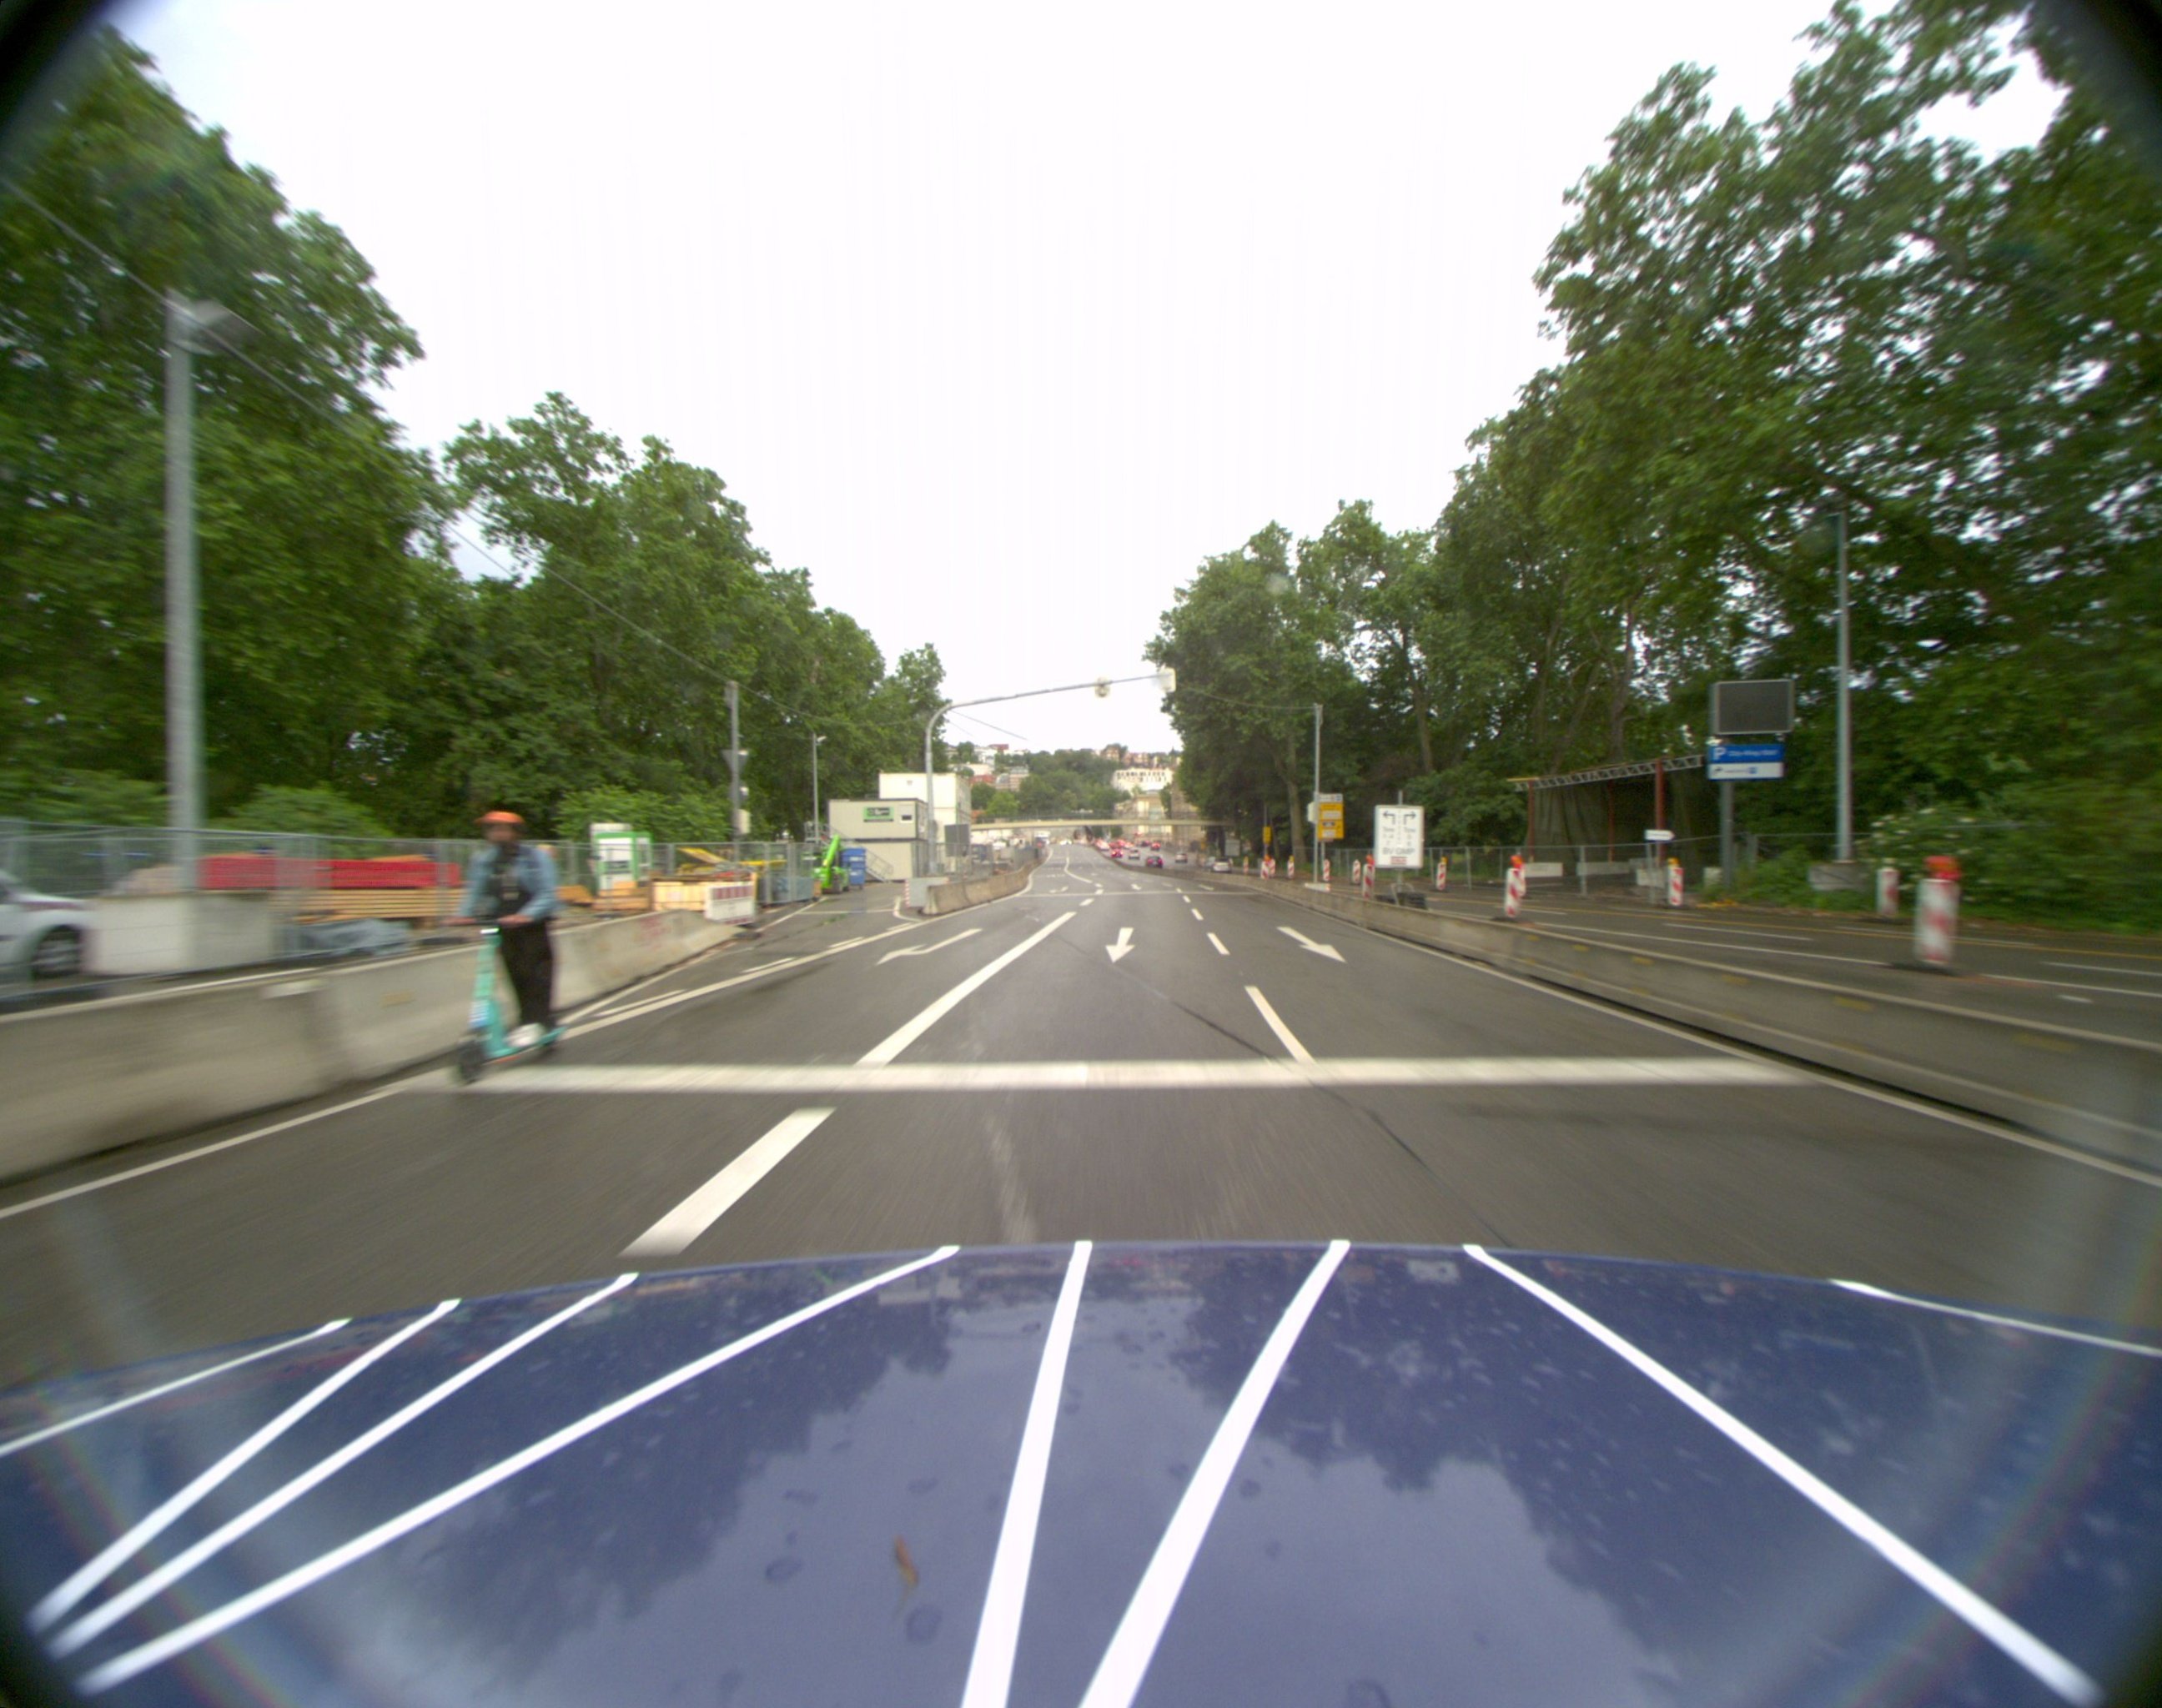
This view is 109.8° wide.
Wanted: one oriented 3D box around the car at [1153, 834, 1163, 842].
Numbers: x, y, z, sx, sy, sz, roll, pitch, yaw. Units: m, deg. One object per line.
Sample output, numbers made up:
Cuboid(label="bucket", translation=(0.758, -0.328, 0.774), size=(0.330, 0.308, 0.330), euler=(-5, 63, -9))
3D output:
Cuboid(label="car", translation=(17.607, -3.635, 173.827), size=(2.035, 1.643, 4.320), euler=(0, 0, 3))

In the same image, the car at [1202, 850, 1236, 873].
Cuboid(label="car", translation=(11.096, 0.551, 61.356), size=(1.998, 1.532, 4.444), euler=(2, 3, 2))

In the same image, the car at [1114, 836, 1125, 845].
Cuboid(label="car", translation=(8.956, -3.222, 178.486), size=(2.036, 1.926, 5.040), euler=(1, 3, -3))

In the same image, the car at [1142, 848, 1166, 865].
Cuboid(label="car", translation=(7.859, 0.218, 82.228), size=(1.999, 1.532, 4.576), euler=(1, 3, -3))

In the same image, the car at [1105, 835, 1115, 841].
Cuboid(label="car", translation=(7.623, -4.178, 199.558), size=(2.000, 1.547, 4.207), euler=(1, 3, -7))

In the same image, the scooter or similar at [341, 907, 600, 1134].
Cuboid(label="scooter or similar", translation=(-4.418, 1.121, 5.682), size=(0.599, 1.311, 1.667), euler=(-1, 1, -2))

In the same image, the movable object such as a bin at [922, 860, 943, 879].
Cuboid(label="movable object such as a bin", translation=(-10.503, 1.067, 53.793), size=(1.250, 1.230, 1.238), euler=(1, 3, -3))

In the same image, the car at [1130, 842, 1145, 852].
Cuboid(label="car", translation=(9.322, -1.180, 125.998), size=(2.036, 1.644, 4.910), euler=(2, 1, 1))

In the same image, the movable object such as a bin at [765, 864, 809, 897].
Cuboid(label="movable object such as a bin", translation=(-12.416, 1.116, 32.102), size=(1.177, 1.336, 1.267), euler=(-1, -1, 17))

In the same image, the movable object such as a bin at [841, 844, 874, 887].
Cuboid(label="movable object such as a bin", translation=(-11.819, 0.604, 40.175), size=(1.463, 2.190, 1.262), euler=(-1, 0, -25))

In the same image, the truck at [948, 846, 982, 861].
Cuboid(label="truck", translation=(-17.698, -0.092, 116.056), size=(5.170, 2.003, 2.406), euler=(0, 3, -8))

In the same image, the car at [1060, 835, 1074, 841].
Cuboid(label="car", translation=(-4.059, -4.533, 217.951), size=(2.004, 1.562, 3.988), euler=(0, 3, -35))

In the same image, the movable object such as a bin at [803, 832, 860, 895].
Cuboid(label="movable object such as a bin", translation=(-11.785, 0.455, 36.091), size=(1.812, 2.793, 3.864), euler=(-1, -1, -7))

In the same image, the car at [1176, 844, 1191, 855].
Cuboid(label="car", translation=(14.826, -0.667, 109.916), size=(1.873, 1.532, 4.089), euler=(2, 3, 4))

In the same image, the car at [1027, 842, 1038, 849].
Cuboid(label="car", translation=(-10.434, -1.799, 163.167), size=(1.837, 1.433, 4.411), euler=(-2, 3, 2))

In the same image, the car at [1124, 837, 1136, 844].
Cuboid(label="car", translation=(11.677, -3.154, 180.355), size=(2.000, 1.375, 4.207), euler=(1, 3, -7))

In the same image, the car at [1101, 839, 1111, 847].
Cuboid(label="car", translation=(5.615, -2.554, 169.539), size=(1.899, 1.559, 4.894), euler=(1, 3, -3))

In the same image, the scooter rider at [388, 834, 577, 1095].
Cuboid(label="scooter rider", translation=(-4.419, 0.751, 5.694), size=(0.599, 1.775, 0.997), euler=(-1, 1, -2))

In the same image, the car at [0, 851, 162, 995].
Cuboid(label="car", translation=(-14.419, 0.860, 8.651), size=(1.851, 1.796, 5.086), euler=(-1, -1, -2))

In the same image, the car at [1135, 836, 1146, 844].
Cuboid(label="car", translation=(15.669, -3.754, 200.948), size=(2.000, 2.003, 3.994), euler=(1, 3, -9))

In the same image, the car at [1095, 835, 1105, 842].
Cuboid(label="car", translation=(4.944, -4.058, 196.343), size=(1.999, 1.559, 5.377), euler=(1, 3, -4))

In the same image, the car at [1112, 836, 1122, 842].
Cuboid(label="car", translation=(9.233, -3.747, 195.682), size=(1.999, 1.375, 4.208), euler=(1, 3, -5))
